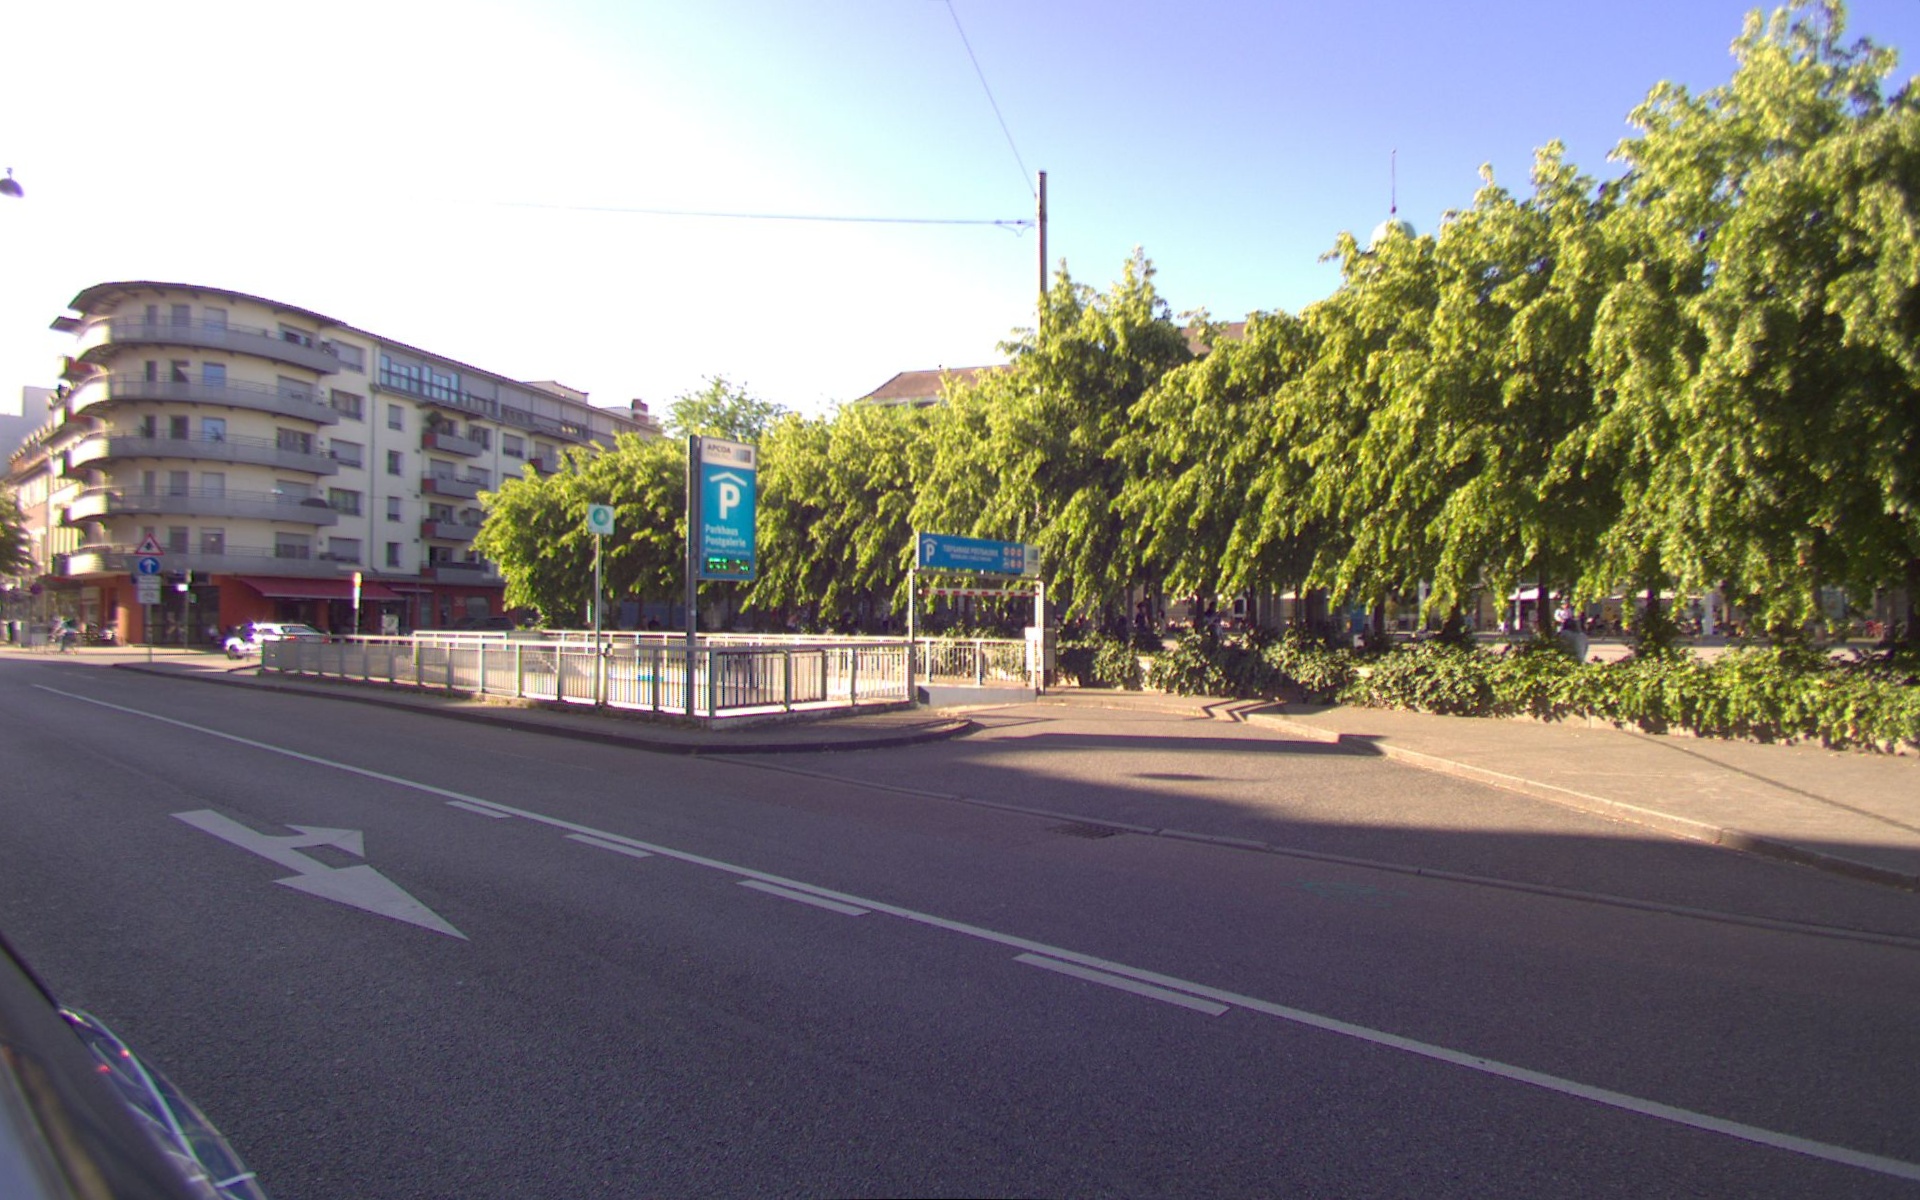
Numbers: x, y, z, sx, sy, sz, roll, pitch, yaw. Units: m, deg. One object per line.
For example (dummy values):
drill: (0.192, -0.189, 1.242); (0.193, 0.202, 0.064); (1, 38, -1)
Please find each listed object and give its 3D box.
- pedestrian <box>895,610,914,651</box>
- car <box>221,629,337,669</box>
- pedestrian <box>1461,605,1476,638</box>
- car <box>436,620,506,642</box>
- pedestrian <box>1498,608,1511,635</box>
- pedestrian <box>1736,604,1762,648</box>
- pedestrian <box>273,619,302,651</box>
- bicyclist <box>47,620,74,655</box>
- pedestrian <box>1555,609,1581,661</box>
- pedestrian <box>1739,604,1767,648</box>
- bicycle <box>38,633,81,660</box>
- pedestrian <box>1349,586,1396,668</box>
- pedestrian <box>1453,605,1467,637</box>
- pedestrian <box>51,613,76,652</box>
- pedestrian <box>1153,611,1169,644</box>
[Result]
pedestrian: (-2.377, 1.300, 43.422); (0.604, 1.734, 0.642); (-1, 0, 21)
car: (-26.479, 1.888, 39.334); (4.241, 1.363, 1.809); (1, -2, 26)
pedestrian: (27.396, 1.142, 54.537); (0.643, 1.734, 0.603); (-1, 0, 26)
car: (-30.505, 1.898, 63.216); (1.742, 1.311, 3.977); (-1, -1, 17)
pedestrian: (35.207, 1.376, 65.473); (0.642, 1.734, 0.604); (-1, 0, 20)
pedestrian: (31.928, 1.040, 40.949); (0.641, 1.734, 0.605); (-1, 0, 18)
pedestrian: (-34.000, 1.771, 51.167); (0.877, 1.607, 0.861); (-1, 0, 2)
bicyclist: (-40.426, 1.697, 45.494); (0.789, 1.559, 0.524); (-1, 0, 6)
pedestrian: (20.293, 1.158, 33.773); (0.643, 1.734, 0.604); (-1, 0, 22)
pedestrian: (31.894, 1.040, 40.700); (0.640, 1.734, 0.606); (-1, 0, 13)
bicycle: (-40.489, 2.069, 45.503); (1.574, 1.179, 0.526); (-1, 0, 7)
pedestrian: (8.464, 0.540, 20.793); (0.645, 1.661, 0.626); (-1, 0, -35)
pedestrian: (27.600, 1.165, 55.881); (0.643, 1.734, 0.603); (-1, 0, 26)
pedestrian: (-46.667, 1.682, 52.692); (0.888, 2.029, 0.850); (-1, 0, 40)
pedestrian: (10.607, 1.456, 53.440); (0.606, 1.734, 0.640); (-1, 0, 31)
